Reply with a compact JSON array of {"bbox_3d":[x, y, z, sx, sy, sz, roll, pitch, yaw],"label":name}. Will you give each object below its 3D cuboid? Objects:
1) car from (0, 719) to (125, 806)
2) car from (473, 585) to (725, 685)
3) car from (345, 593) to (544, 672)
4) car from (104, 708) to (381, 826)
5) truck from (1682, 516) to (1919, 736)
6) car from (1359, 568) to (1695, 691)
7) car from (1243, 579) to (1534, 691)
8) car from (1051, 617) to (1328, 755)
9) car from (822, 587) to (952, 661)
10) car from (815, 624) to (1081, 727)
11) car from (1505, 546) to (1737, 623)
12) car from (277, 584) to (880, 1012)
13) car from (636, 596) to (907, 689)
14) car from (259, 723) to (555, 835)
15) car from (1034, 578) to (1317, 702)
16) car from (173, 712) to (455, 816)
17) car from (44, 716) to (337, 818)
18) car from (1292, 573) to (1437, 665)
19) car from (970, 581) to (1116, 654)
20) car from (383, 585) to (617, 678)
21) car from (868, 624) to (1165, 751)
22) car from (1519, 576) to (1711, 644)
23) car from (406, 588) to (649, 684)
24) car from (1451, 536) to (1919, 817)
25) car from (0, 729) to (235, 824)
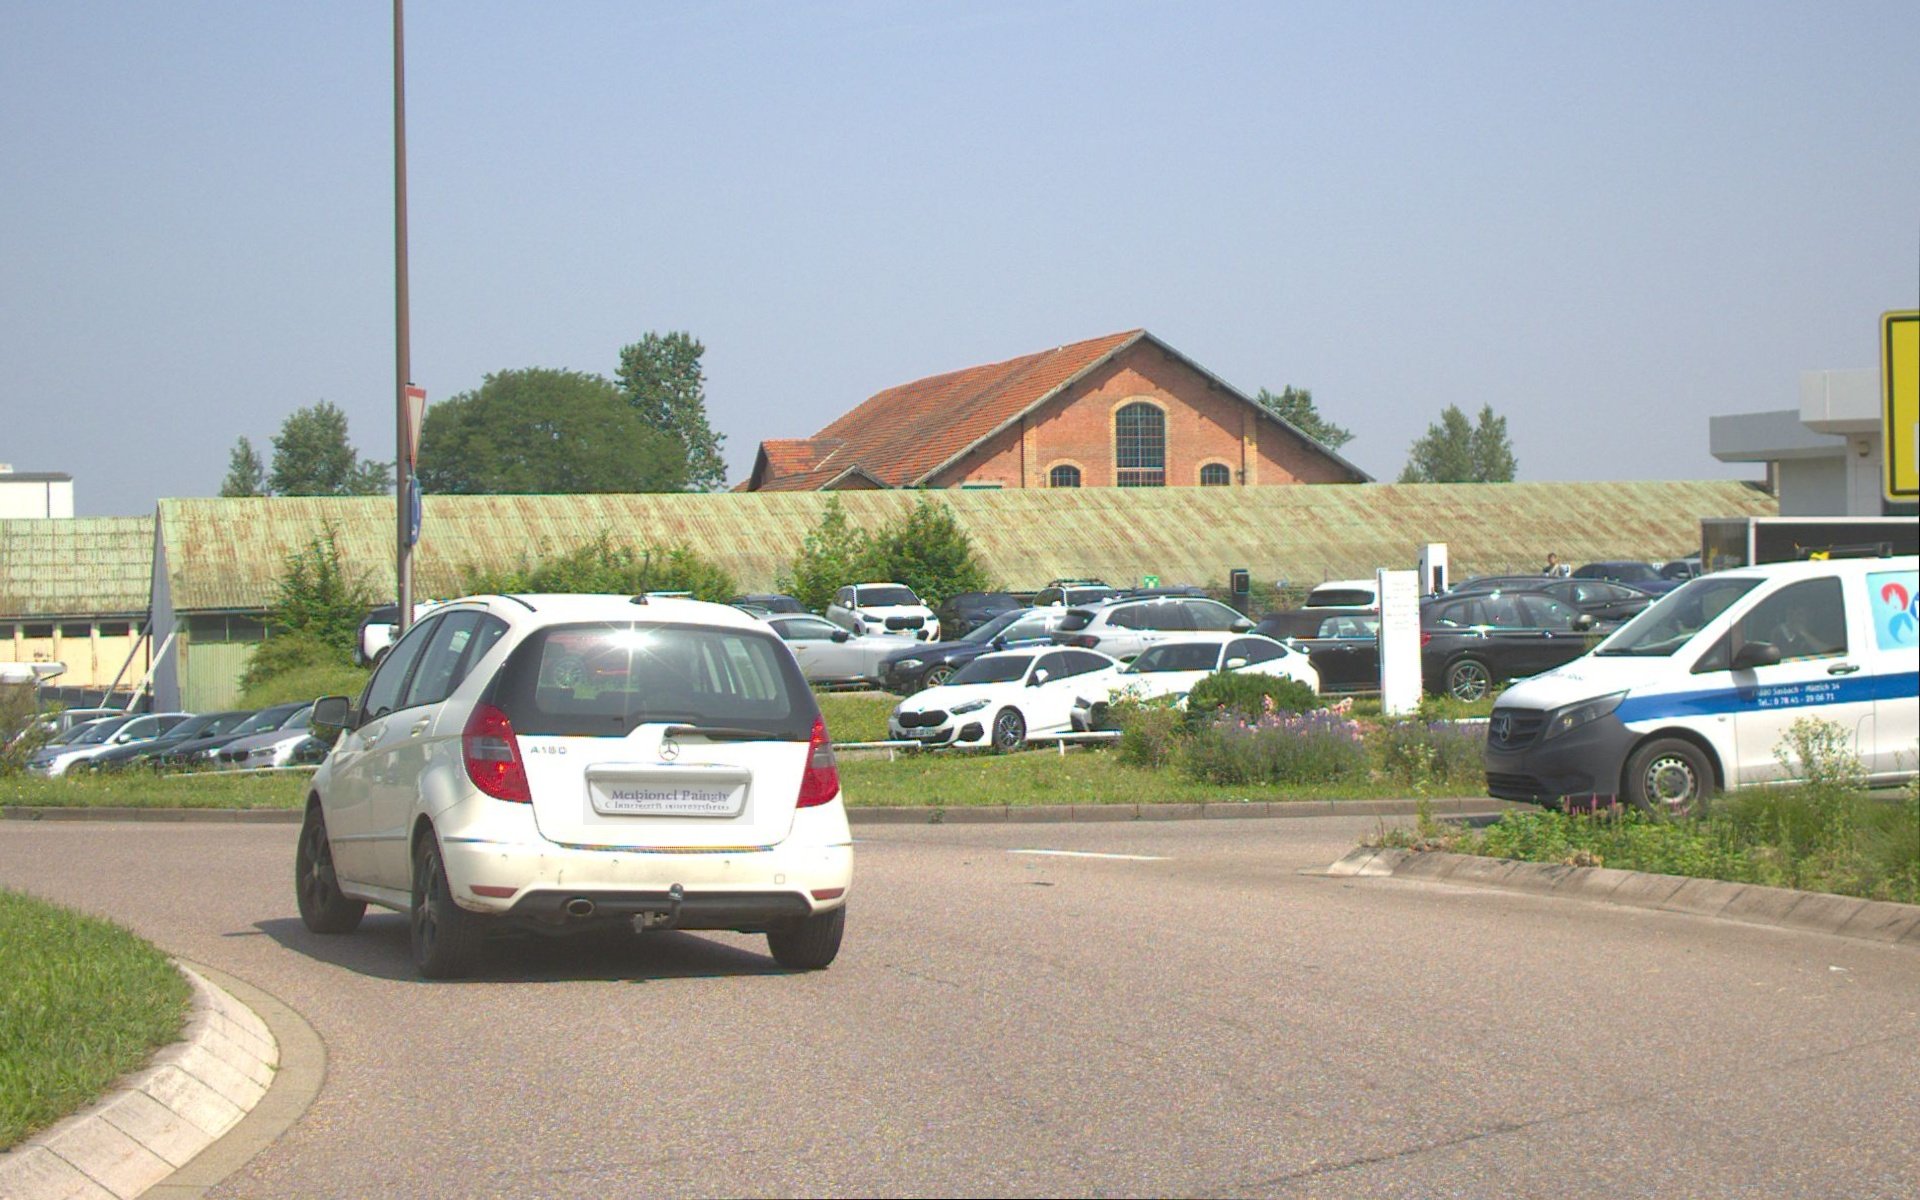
[{"bbox_3d":[-18.963,3.223,67.534,4.482,1.634,2.146,0,-3,-40],"label":"car"},{"bbox_3d":[-6.915,0.657,65.804,4.452,1.741,1.950,-2,0,-17],"label":"car"},{"bbox_3d":[-10.834,0.666,72.243,3.874,1.527,1.769,-2,0,-17],"label":"car"},{"bbox_3d":[-12.655,2.934,60.691,4.249,1.742,1.999,-3,-2,-36],"label":"car"},{"bbox_3d":[12.218,0.267,43.604,5.607,2.656,1.950,-2,0,-12],"label":"truck"},{"bbox_3d":[8.369,0.440,50.862,4.411,1.495,1.950,-4,0,-17],"label":"car"},{"bbox_3d":[6.669,0.520,53.620,3.994,1.494,1.950,-3,2,-17],"label":"car"},{"bbox_3d":[3.275,1.168,48.107,1.766,1.565,4.657,-2,2,33],"label":"car"},{"bbox_3d":[-1.678,0.538,77.785,1.916,1.591,4.305,-2,0,-15],"label":"car"},{"bbox_3d":[-0.217,1.212,56.049,3.994,1.521,1.950,-2,0,-11],"label":"car"},{"bbox_3d":[14.195,-0.325,73.952,4.452,1.517,1.950,-2,0,-13],"label":"car"},{"bbox_3d":[-1.844,0.760,15.421,1.780,1.598,3.894,0,1,-20],"label":"car"},{"bbox_3d":[-3.372,0.739,61.371,4.452,1.495,1.950,-2,0,-17],"label":"car"},{"bbox_3d":[-9.065,2.933,56.568,4.424,1.460,1.921,-3,-2,-44],"label":"car"},{"bbox_3d":[3.426,0.617,54.779,3.994,1.744,1.950,-3,1,-17],"label":"car"},{"bbox_3d":[-10.961,2.778,58.413,4.249,1.460,1.873,-3,-2,-36],"label":"car"},{"bbox_3d":[-14.054,3.041,62.898,4.768,1.503,1.999,-3,-2,-36],"label":"car"},{"bbox_3d":[7.578,0.332,64.090,1.654,1.580,4.264,-1,0,21],"label":"car"},{"bbox_3d":[1.868,0.407,79.307,2.187,1.591,4.305,-2,0,-15],"label":"car"},{"bbox_3d":[-9.387,0.627,70.130,4.452,1.741,1.840,-2,0,-17],"label":"car"},{"bbox_3d":[0.866,1.231,49.267,1.766,1.565,4.567,-3,0,39],"label":"car"},{"bbox_3d":[12.807,0.200,67.325,1.653,1.271,3.341,-2,0,-43],"label":"car"},{"bbox_3d":[-8.544,0.695,67.884,4.452,1.741,1.840,-2,0,-17],"label":"car"},{"bbox_3d":[6.384,0.548,25.065,5.211,1.931,1.861,0,-2,-12],"label":"car"},{"bbox_3d":[-15.899,3.301,64.436,3.989,1.547,1.999,-1,-3,-40],"label":"car"}]
